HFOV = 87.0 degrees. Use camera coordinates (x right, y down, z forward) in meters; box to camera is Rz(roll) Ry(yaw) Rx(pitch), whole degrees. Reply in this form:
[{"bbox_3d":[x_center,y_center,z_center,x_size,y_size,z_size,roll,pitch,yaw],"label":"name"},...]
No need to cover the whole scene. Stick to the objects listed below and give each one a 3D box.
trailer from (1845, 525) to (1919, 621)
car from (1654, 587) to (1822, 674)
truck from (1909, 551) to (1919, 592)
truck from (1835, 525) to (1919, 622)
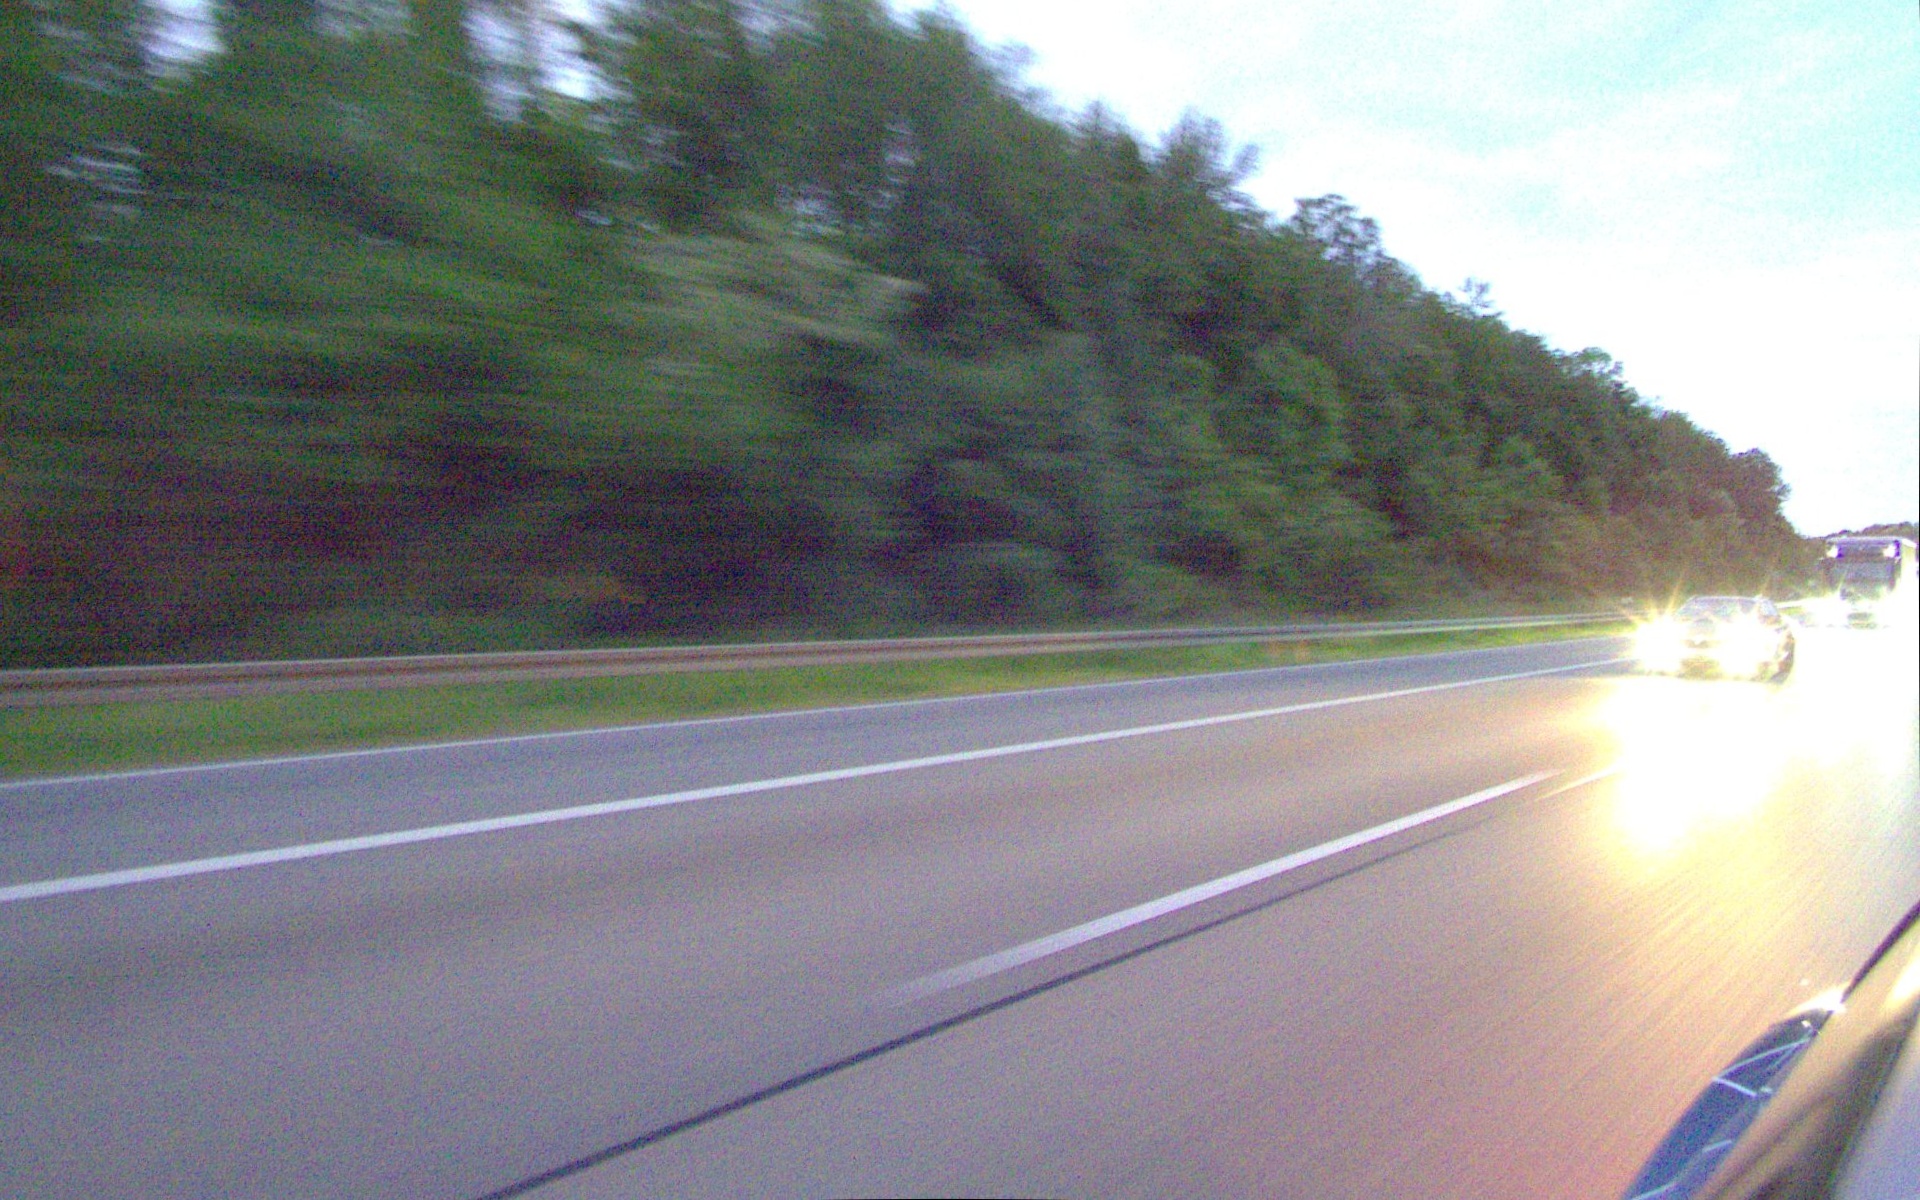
[{"bbox_3d":[45.357,-1.362,49.305,2.484,4.123,13.288,0,2,45],"label":"trailer"},{"bbox_3d":[15.248,0.523,19.737,4.863,1.509,1.694,0,0,-41],"label":"car"},{"bbox_3d":[98.444,-2.922,102.477,3.332,4.017,13.326,0,2,44],"label":"truck"},{"bbox_3d":[40.626,-1.162,44.650,5.498,4.017,2.494,-2,1,-43],"label":"truck"}]
